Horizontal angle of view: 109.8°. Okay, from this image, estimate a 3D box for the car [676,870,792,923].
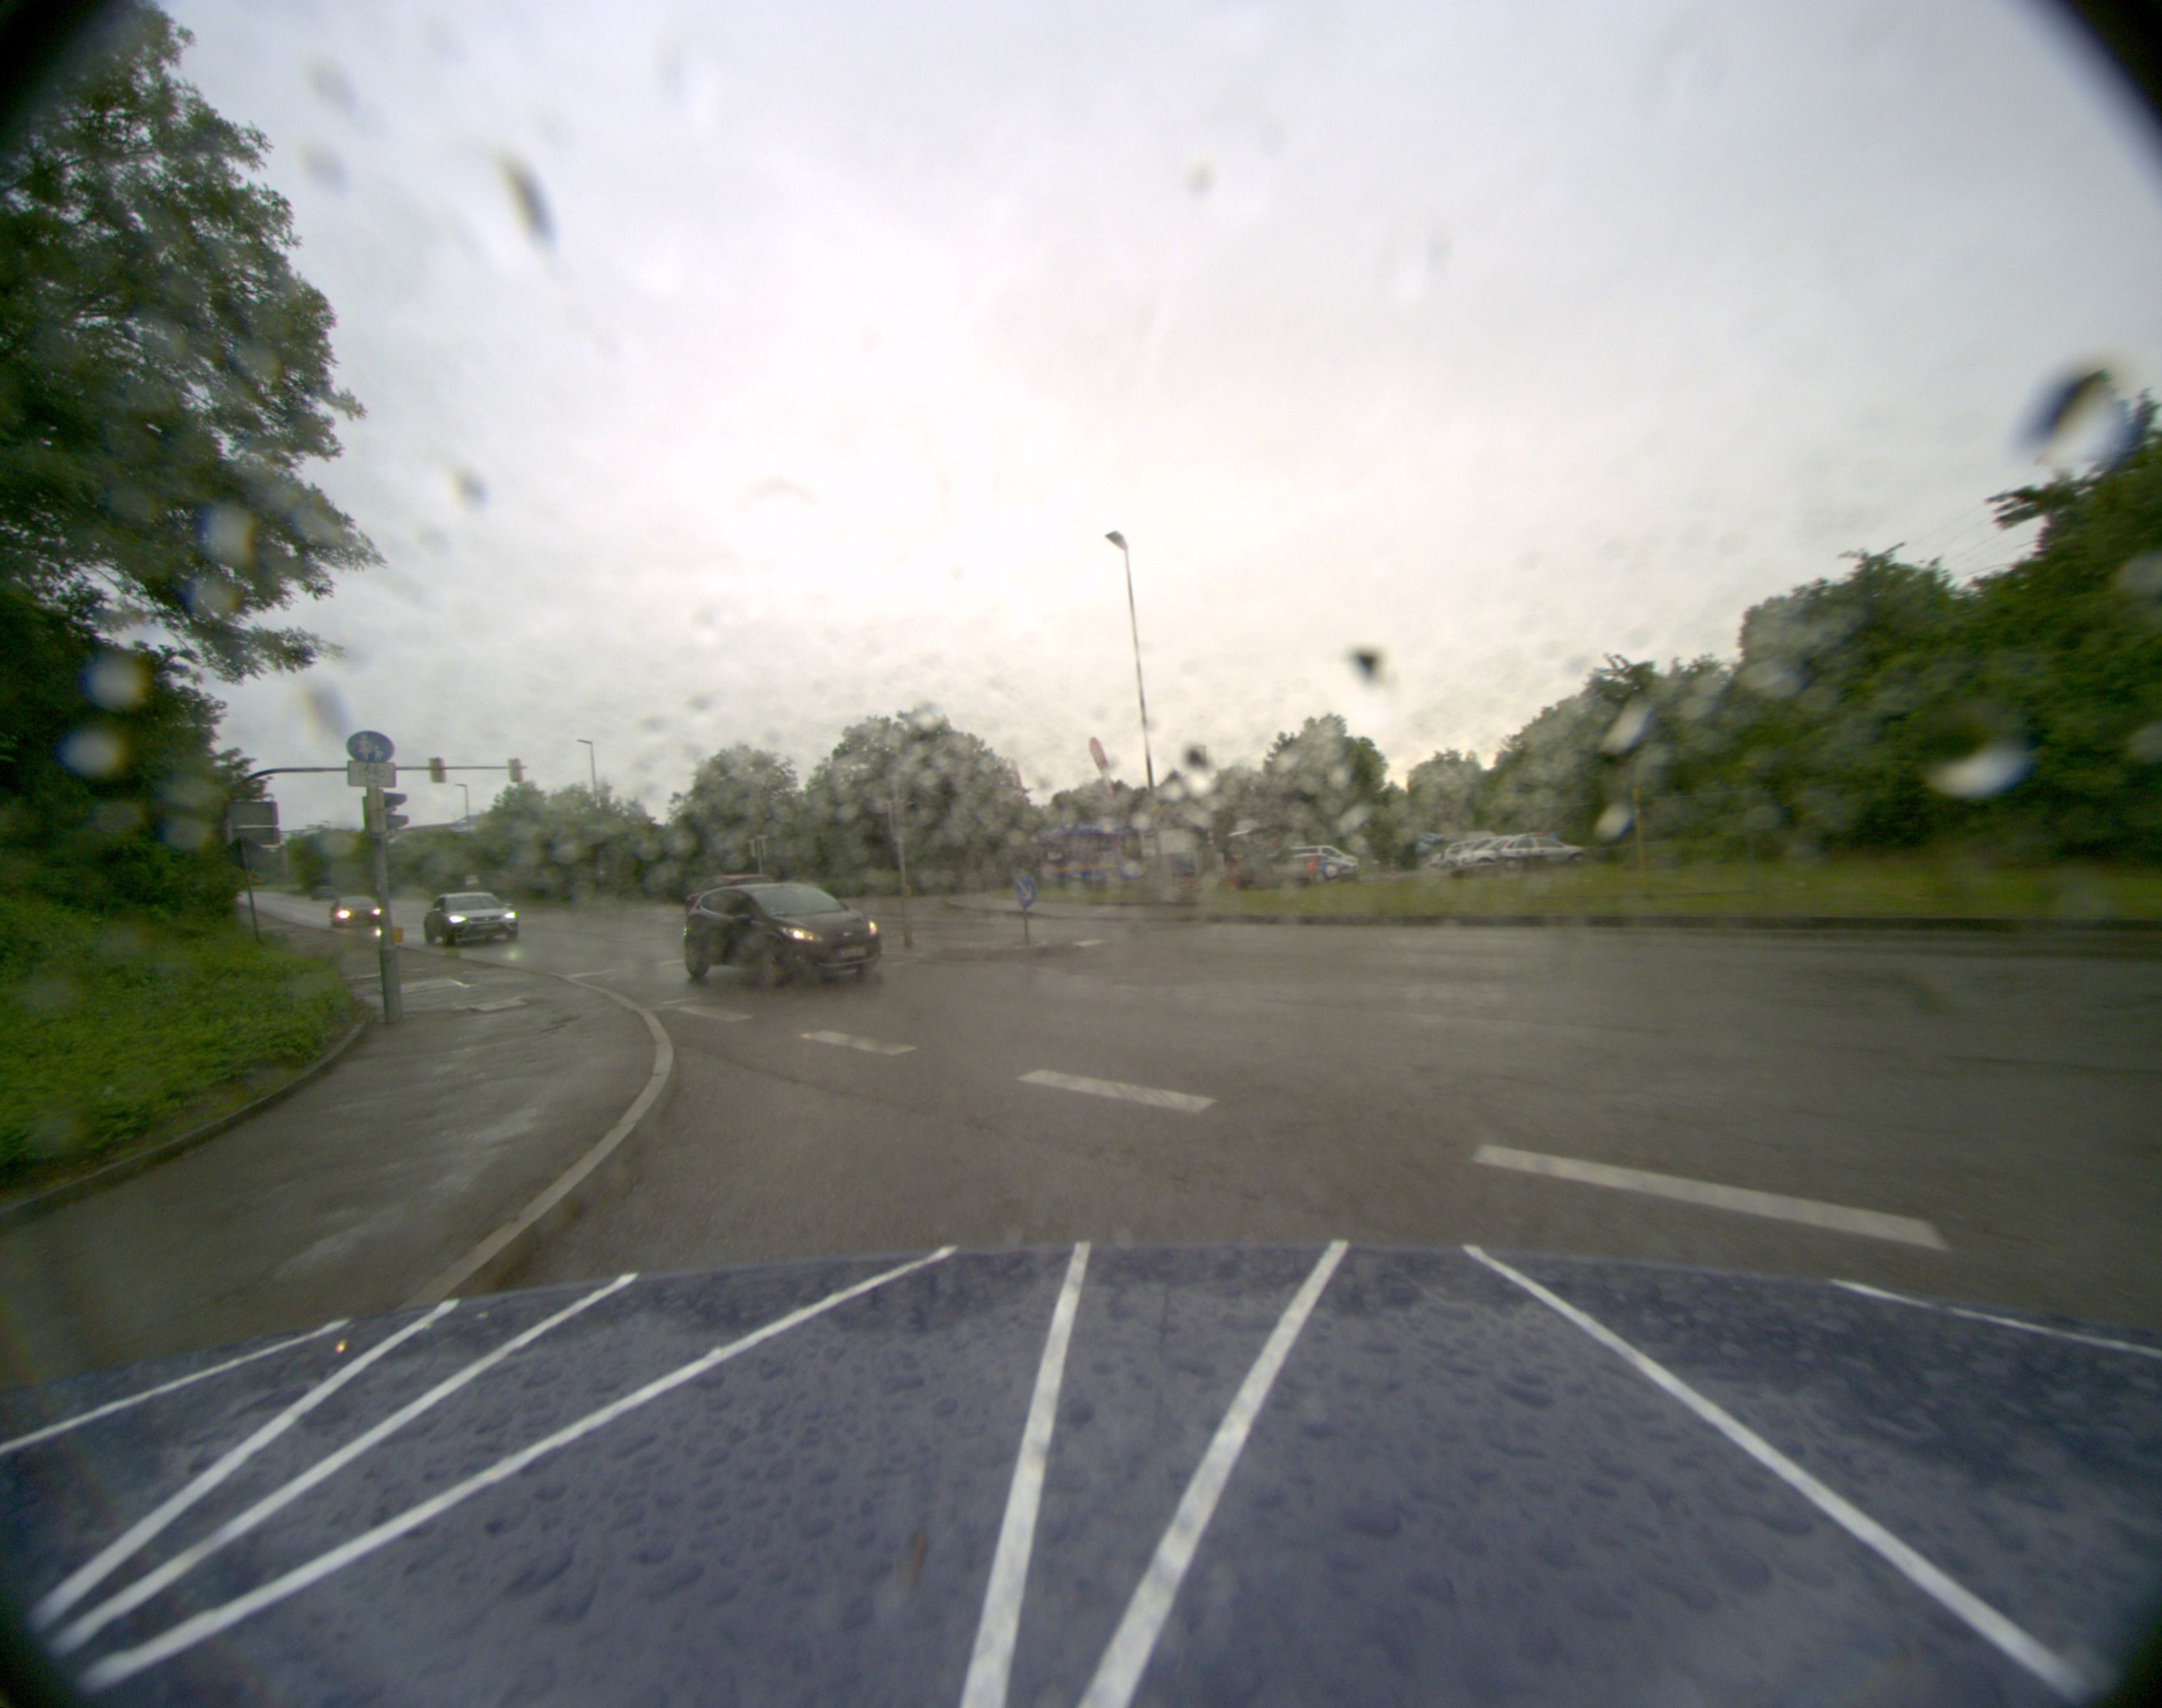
[{"bbox_3d":[-12.720,1.550,27.729,4.669,1.704,1.907,-3,0,39],"label":"car"}]

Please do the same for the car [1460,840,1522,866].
[{"bbox_3d":[27.228,-0.084,50.591,3.472,1.531,1.450,-3,0,23],"label":"car"}]

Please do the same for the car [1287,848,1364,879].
[{"bbox_3d":[15.508,0.596,48.215,4.379,1.755,1.925,-3,0,26],"label":"car"}]

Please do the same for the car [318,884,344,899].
[{"bbox_3d":[-86.767,4.354,87.930,3.859,1.565,1.742,-3,0,40],"label":"car"}]

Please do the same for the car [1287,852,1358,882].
[{"bbox_3d":[13.839,0.741,43.562,3.619,1.502,1.595,-3,0,26],"label":"car"}]

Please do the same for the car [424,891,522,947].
[{"bbox_3d":[-18.981,1.967,23.651,4.143,1.498,1.686,-3,-1,42],"label":"car"}]

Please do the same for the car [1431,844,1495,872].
[{"bbox_3d":[27.995,0.305,55.800,3.954,1.868,1.696,-3,0,21],"label":"car"}]

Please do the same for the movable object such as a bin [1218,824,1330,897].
[{"bbox_3d":[7.923,0.341,31.926,2.311,2.669,5.700,-3,-1,-10],"label":"movable object such as a bin"}]

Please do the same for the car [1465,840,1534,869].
[{"bbox_3d":[24.327,0.012,44.278,3.355,1.531,1.450,-3,0,26],"label":"car"}]

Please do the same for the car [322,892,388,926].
[{"bbox_3d":[-36.030,2.710,37.683,4.143,1.498,1.686,-3,0,37],"label":"car"}]

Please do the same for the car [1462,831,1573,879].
[{"bbox_3d":[20.148,0.054,35.281,4.225,1.968,1.907,-3,0,25],"label":"car"}]

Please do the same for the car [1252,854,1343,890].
[{"bbox_3d":[10.506,0.864,36.938,3.990,1.565,1.673,-3,0,25],"label":"car"}]

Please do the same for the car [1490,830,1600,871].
[{"bbox_3d":[19.943,-0.143,32.854,3.815,1.559,1.777,-3,0,25],"label":"car"}]

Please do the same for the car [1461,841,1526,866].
[{"bbox_3d":[26.263,-0.049,48.459,3.472,1.391,1.450,-3,0,23],"label":"car"}]

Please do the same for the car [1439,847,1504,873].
[{"bbox_3d":[27.409,0.432,53.493,3.873,1.618,1.696,-3,0,21],"label":"car"}]

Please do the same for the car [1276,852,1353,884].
[{"bbox_3d":[12.718,0.774,41.387,3.702,1.565,1.595,-3,0,26],"label":"car"}]

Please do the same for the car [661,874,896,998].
[{"bbox_3d":[-4.831,1.184,11.919,3.878,1.561,1.686,-3,0,39],"label":"car"}]
